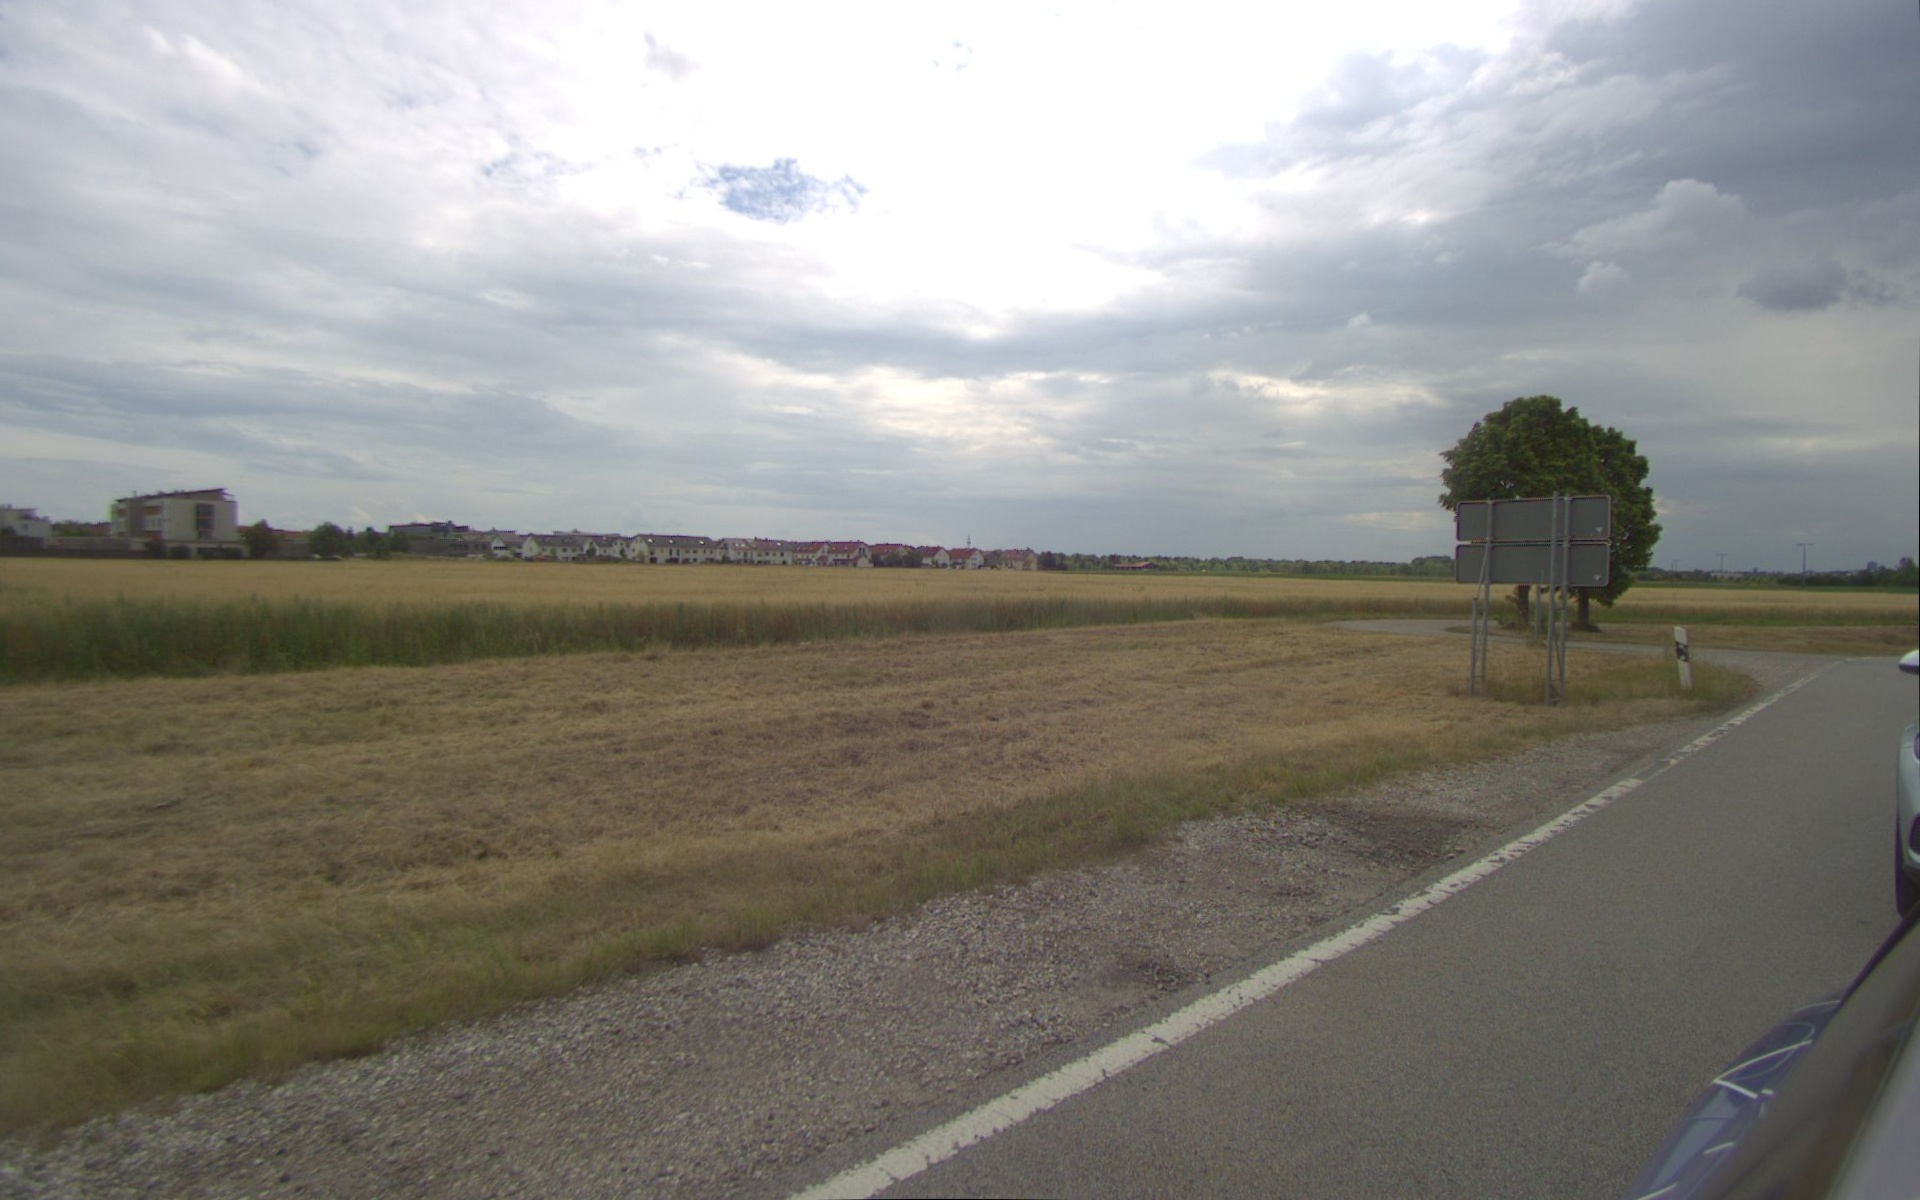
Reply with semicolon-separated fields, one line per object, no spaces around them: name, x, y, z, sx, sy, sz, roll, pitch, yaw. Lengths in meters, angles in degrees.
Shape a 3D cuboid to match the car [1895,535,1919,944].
car;5.932;0.566;4.871;4.377;1.606;1.834;-1;3;-44
